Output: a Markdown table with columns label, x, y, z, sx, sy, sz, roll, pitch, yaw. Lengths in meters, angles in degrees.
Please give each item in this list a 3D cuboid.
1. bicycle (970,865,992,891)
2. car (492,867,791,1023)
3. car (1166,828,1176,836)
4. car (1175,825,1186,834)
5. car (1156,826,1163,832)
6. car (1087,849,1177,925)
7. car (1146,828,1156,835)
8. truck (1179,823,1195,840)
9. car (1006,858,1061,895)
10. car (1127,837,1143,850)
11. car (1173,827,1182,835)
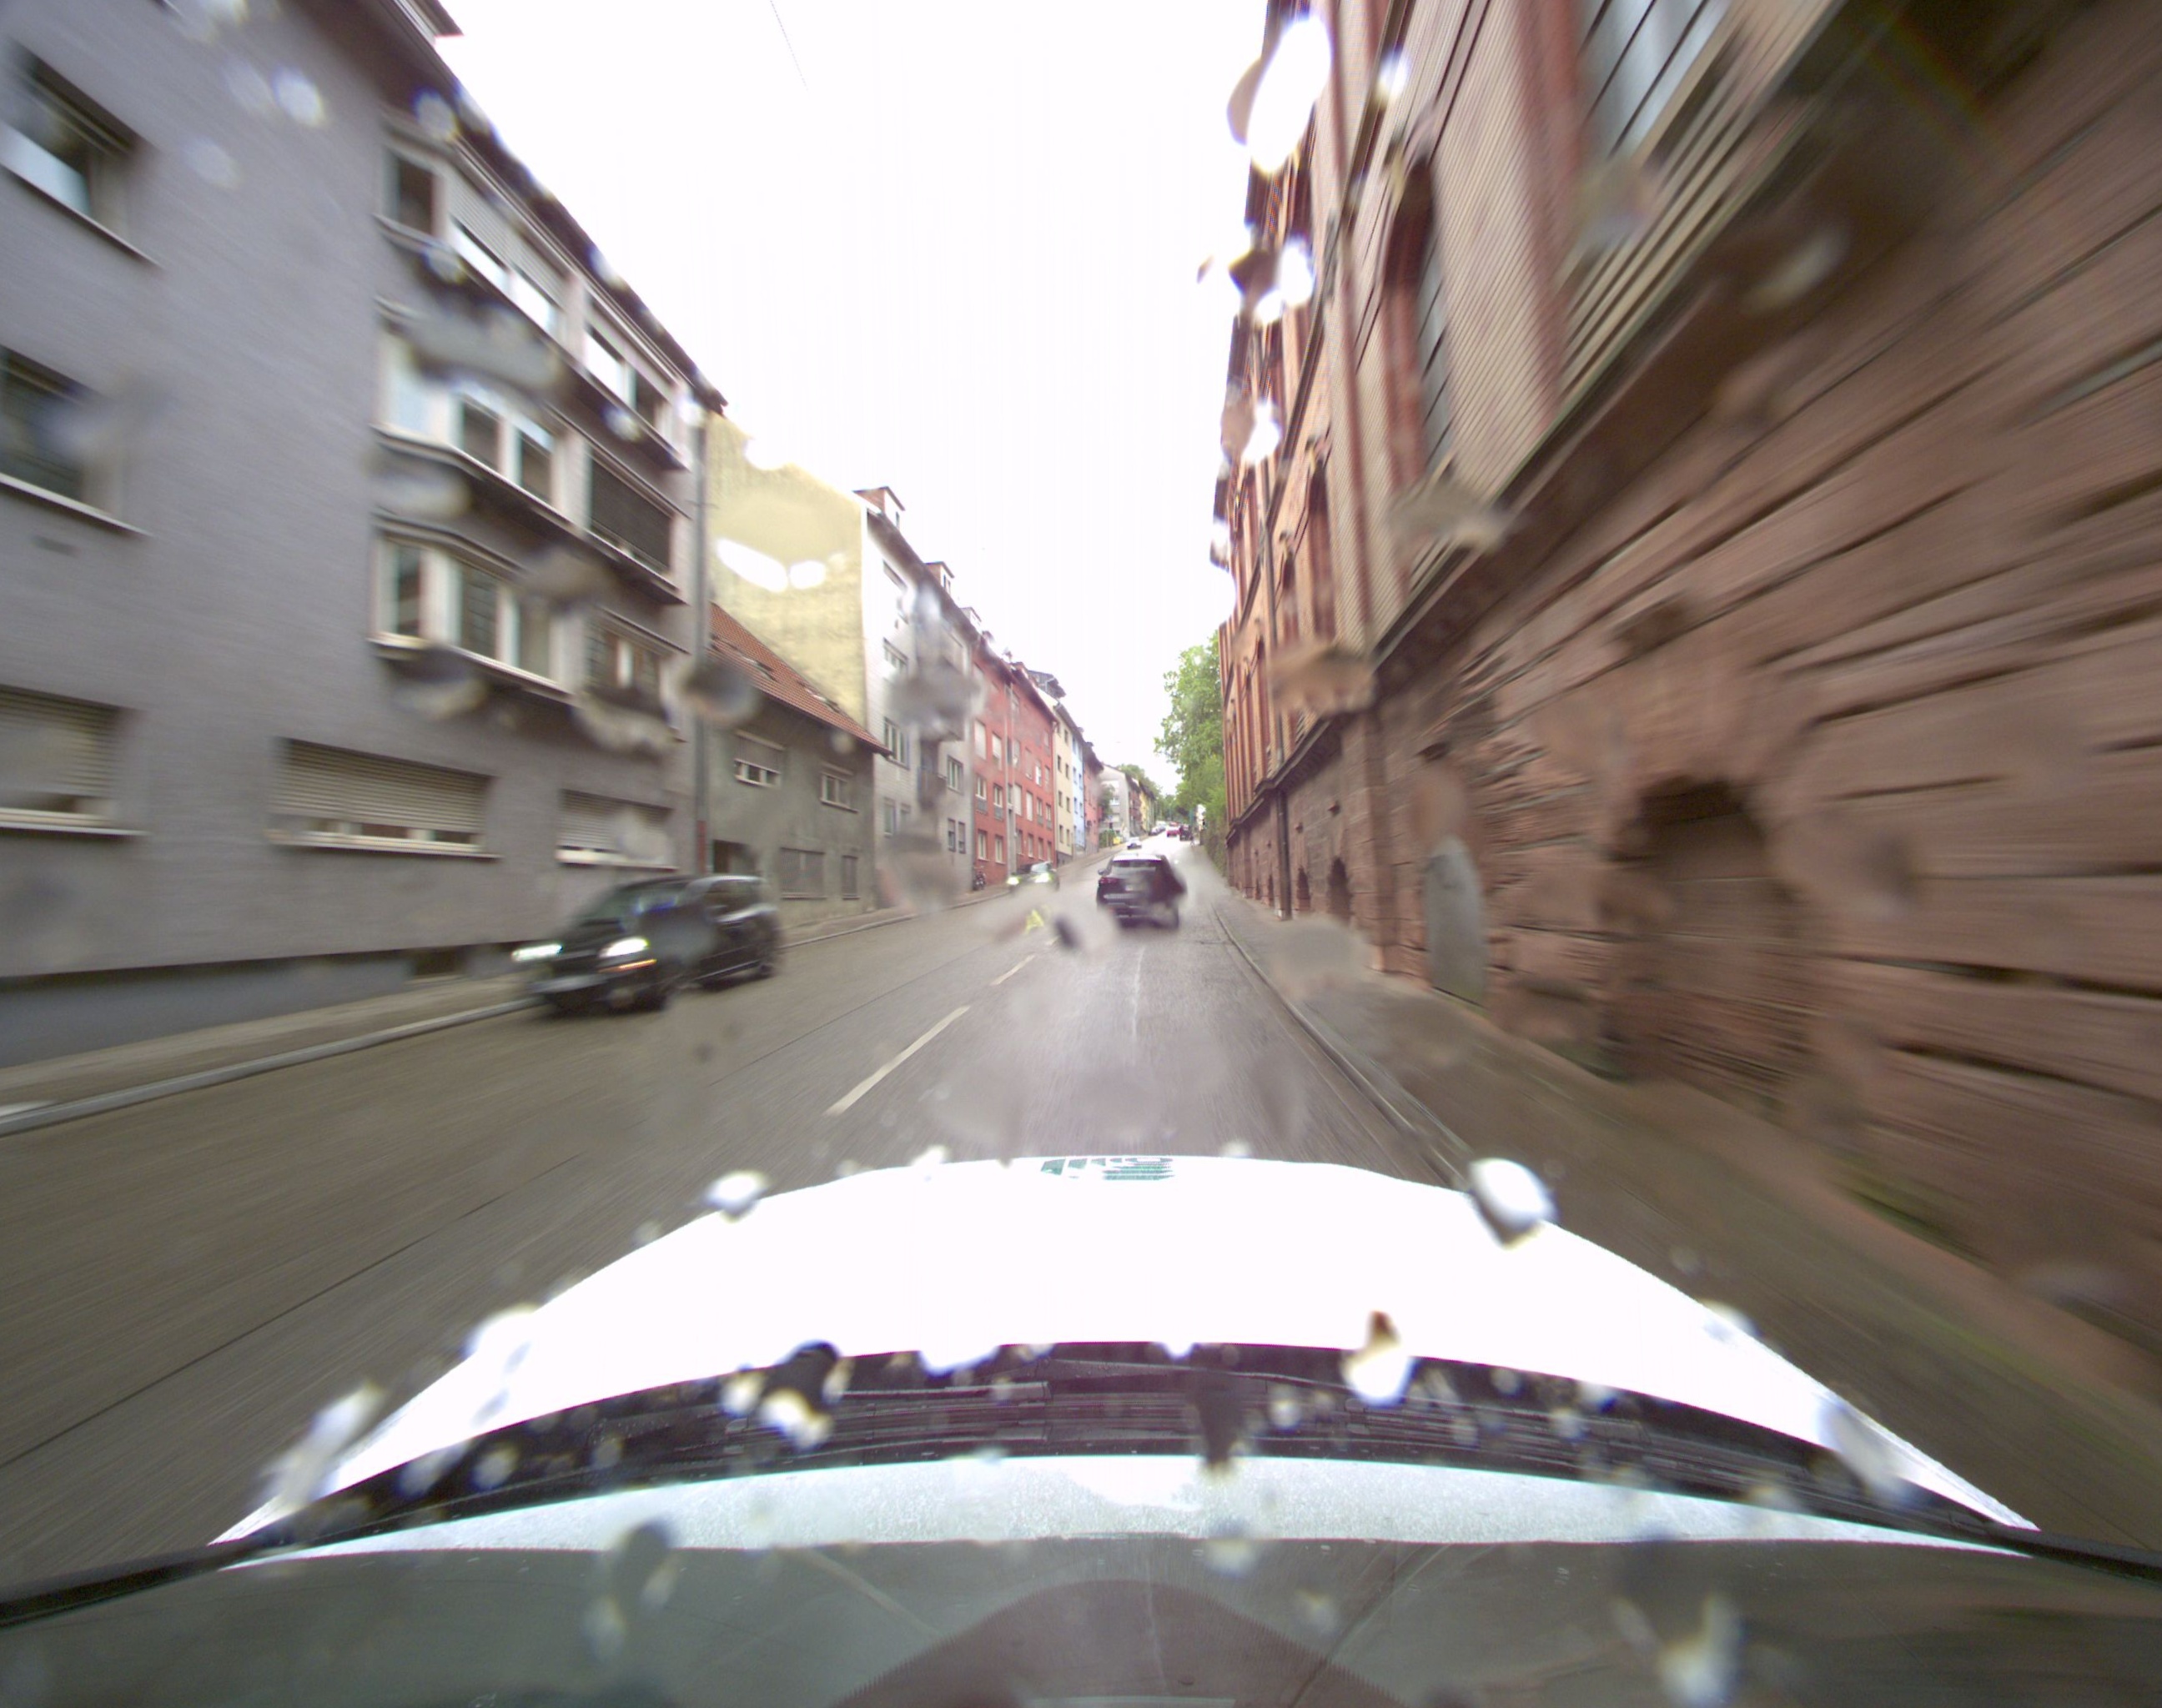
| label | x | y | z | sx | sy | sz | roll | pitch | yaw |
| --- | --- | --- | --- | --- | --- | --- | --- | --- | --- |
| bicycle | -4.684 | 1.100 | 38.295 | 0.496 | 1.107 | 1.804 | -2 | 1 | 8 |
| car | -5.275 | 0.996 | 10.322 | 1.636 | 1.496 | 3.381 | -4 | 0 | 5 |
| car | 17.394 | -4.260 | 156.675 | 1.784 | 1.510 | 4.009 | -2 | 0 | 7 |
| car | 17.405 | -4.259 | 142.234 | 1.784 | 1.510 | 4.510 | -2 | 0 | 7 |
| car | 20.891 | -6.562 | 217.129 | 1.784 | 1.510 | 4.009 | -2 | 0 | 7 |
| car | 1.228 | 0.719 | 19.215 | 1.872 | 1.594 | 3.925 | -1 | -1 | 4 |
| car | 14.885 | -4.731 | 172.568 | 1.784 | 1.510 | 4.009 | -2 | 0 | 7 |
| truck | 16.601 | -3.496 | 127.508 | 2.277 | 2.440 | 4.462 | -2 | 0 | 7 |
| car | -2.017 | 0.944 | 35.638 | 1.635 | 1.378 | 3.859 | -4 | 0 | 7 |
| car | 6.726 | -1.376 | 101.278 | 1.705 | 1.447 | 3.929 | -3 | 2 | 7 |
| car | 20.222 | -4.864 | 169.901 | 1.784 | 1.510 | 4.009 | -2 | 0 | 7 |
